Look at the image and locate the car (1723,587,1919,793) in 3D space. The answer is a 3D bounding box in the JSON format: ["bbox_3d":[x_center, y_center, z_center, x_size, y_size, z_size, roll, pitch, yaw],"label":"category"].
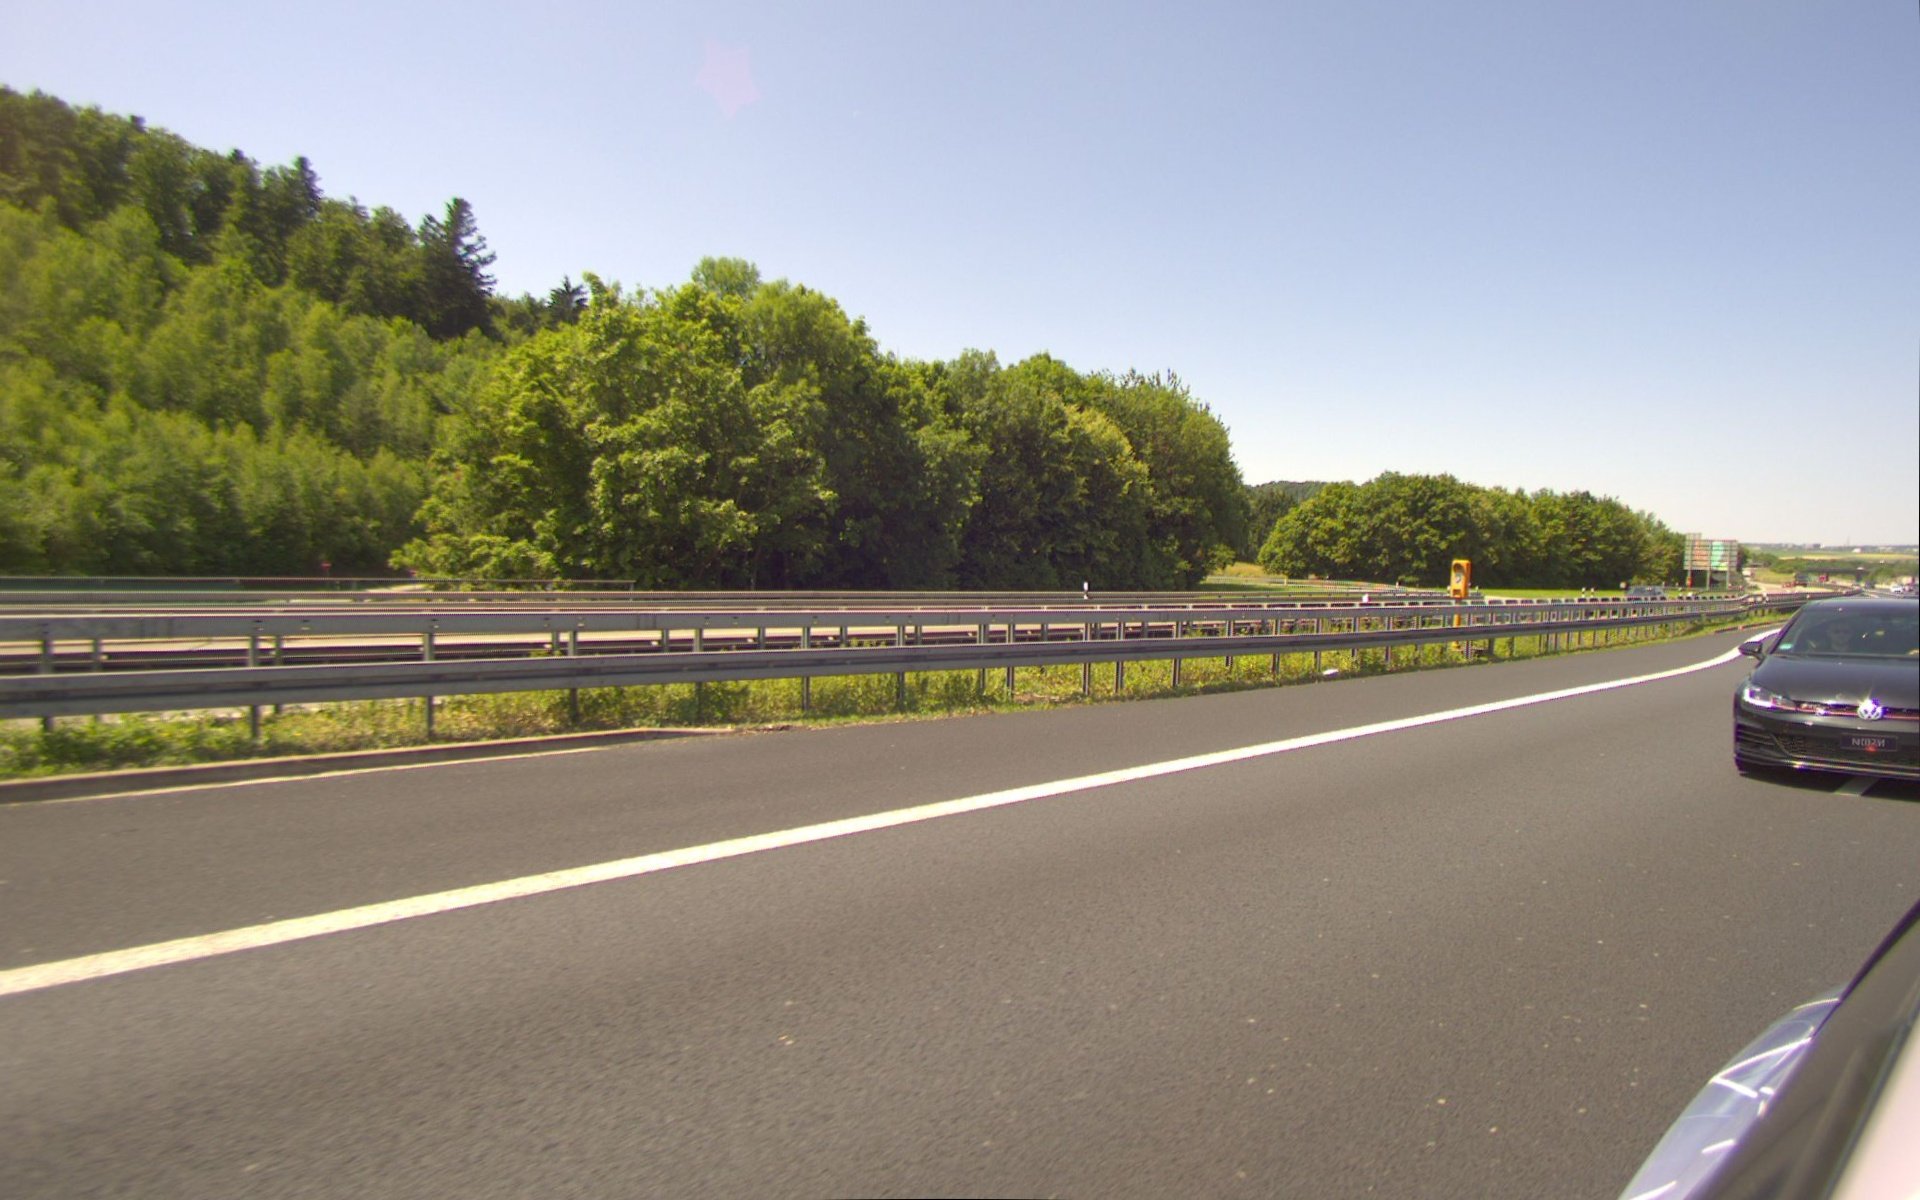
[{"bbox_3d":[8.070,0.622,8.759,3.901,1.453,1.795,-1,1,-45],"label":"car"}]

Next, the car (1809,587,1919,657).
[{"bbox_3d":[20.970,0.442,23.201,3.696,1.417,1.780,-1,2,-41],"label":"car"}]

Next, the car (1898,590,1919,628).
[{"bbox_3d":[40.512,0.369,42.229,1.885,1.491,3.809,1,2,41],"label":"car"}]

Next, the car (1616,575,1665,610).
[{"bbox_3d":[40.831,-0.454,60.654,1.992,2.039,3.941,1,1,41],"label":"car"}]
